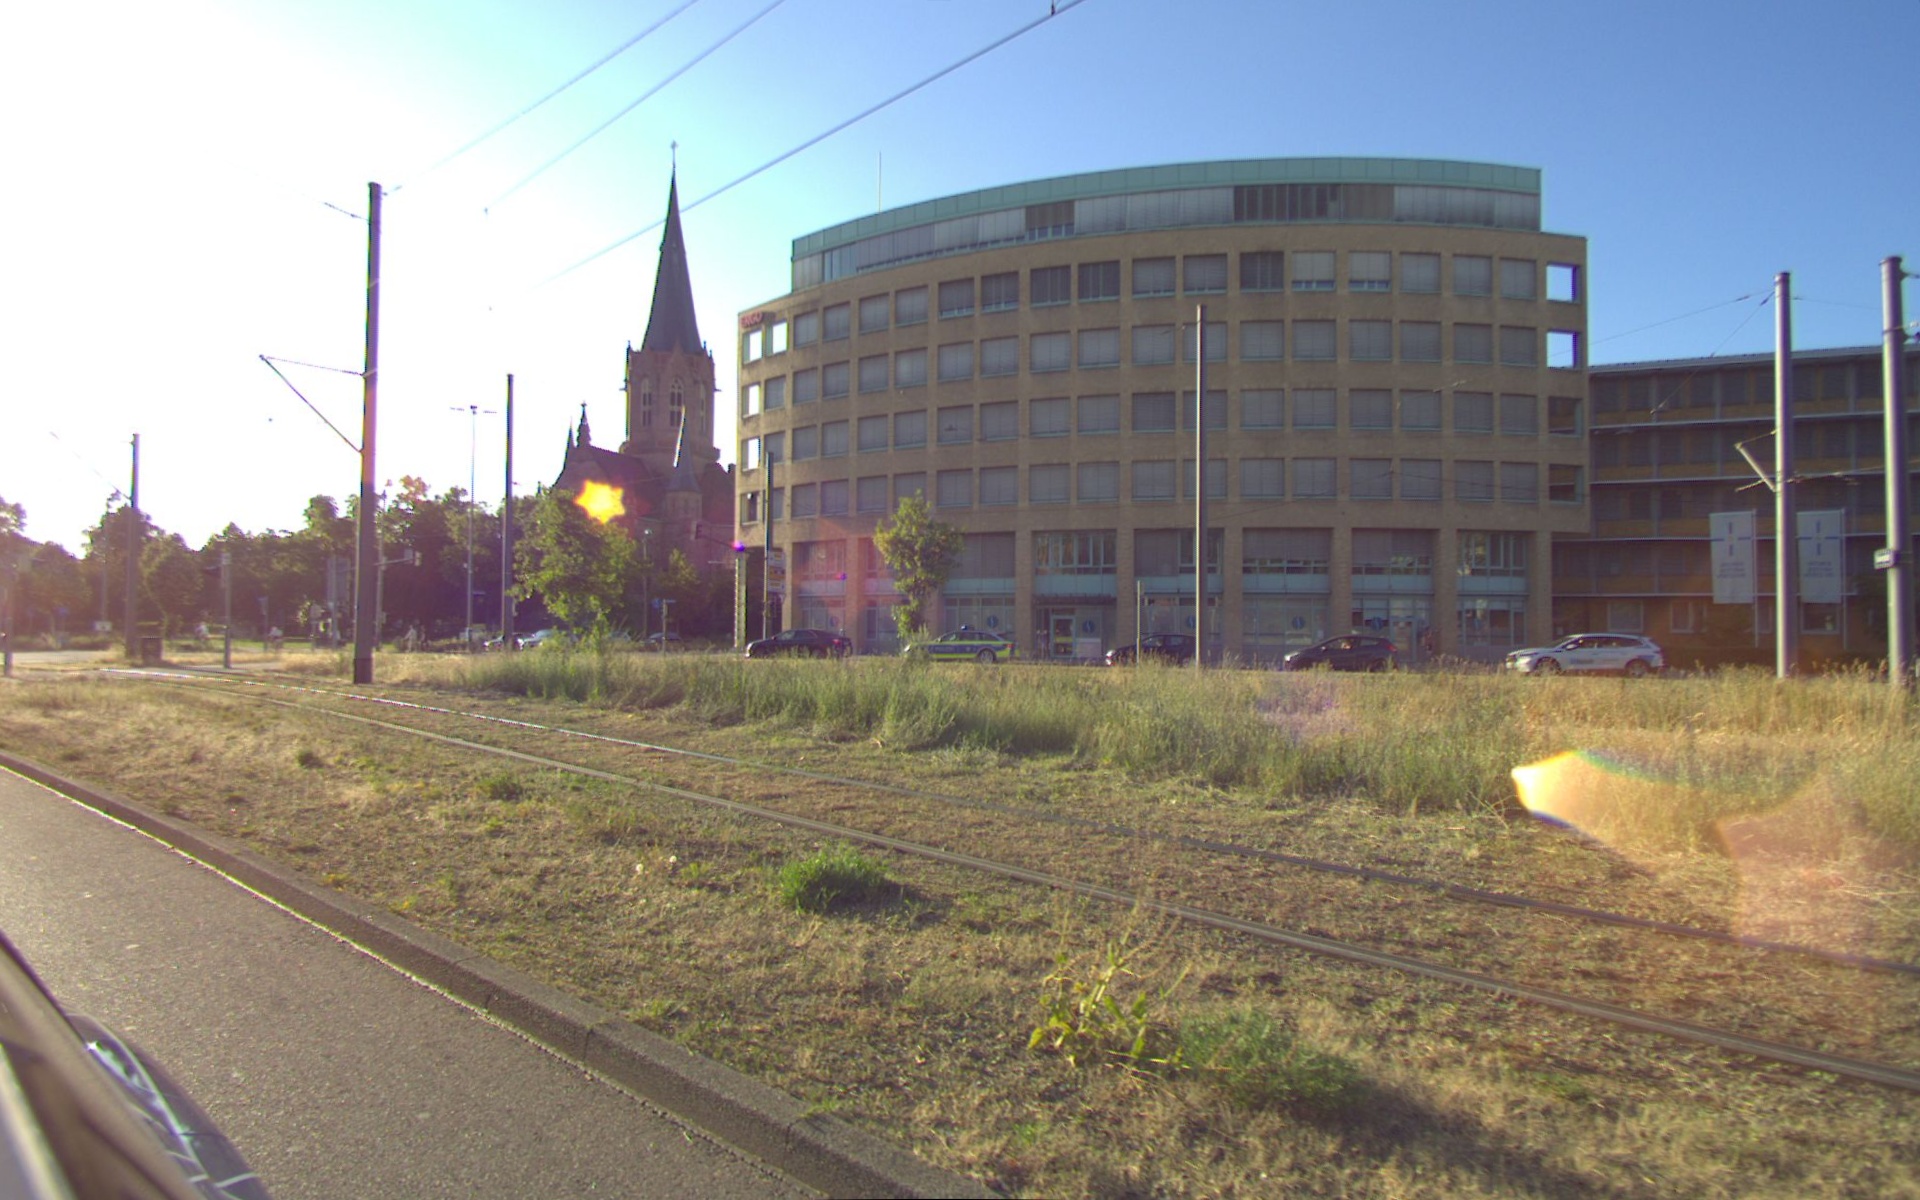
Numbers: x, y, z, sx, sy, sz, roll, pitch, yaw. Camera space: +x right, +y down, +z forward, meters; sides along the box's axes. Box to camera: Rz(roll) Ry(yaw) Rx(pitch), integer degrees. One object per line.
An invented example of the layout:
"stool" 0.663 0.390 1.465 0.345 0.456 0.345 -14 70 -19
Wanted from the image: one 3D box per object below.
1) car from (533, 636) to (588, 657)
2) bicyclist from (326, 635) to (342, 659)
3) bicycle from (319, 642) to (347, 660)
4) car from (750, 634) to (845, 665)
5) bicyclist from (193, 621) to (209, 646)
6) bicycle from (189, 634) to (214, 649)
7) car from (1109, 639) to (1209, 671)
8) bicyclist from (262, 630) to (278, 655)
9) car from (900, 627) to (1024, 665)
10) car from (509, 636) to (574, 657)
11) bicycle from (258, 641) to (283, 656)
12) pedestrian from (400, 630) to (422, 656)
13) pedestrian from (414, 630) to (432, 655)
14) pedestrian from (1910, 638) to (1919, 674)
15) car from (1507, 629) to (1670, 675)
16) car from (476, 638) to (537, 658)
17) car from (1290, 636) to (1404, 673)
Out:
"car" -31.352 3.645 79.515 1.811 1.597 3.974 -1 -2 20
"bicyclist" -41.761 3.130 67.520 0.814 1.595 0.518 -1 -1 20
"bicycle" -41.851 3.399 67.543 1.904 1.155 0.457 -1 -1 20
"car" -7.079 2.133 44.136 3.761 1.292 1.718 -1 -2 21
"bicyclist" -56.105 2.500 74.821 0.888 1.841 0.571 -1 -1 20
"bicycle" -56.104 3.074 74.827 1.916 1.034 0.522 -1 0 20
"car" 7.589 2.082 38.605 3.570 1.162 1.515 -1 -2 19
"bicyclist" -48.537 2.982 71.196 0.888 1.693 0.571 -1 -1 20
"car" 0.086 1.862 41.283 4.745 1.492 1.882 -1 -2 20
"car" -28.780 3.196 69.747 1.891 1.431 3.968 -1 -2 23
"bicycle" -48.461 3.413 71.130 1.916 1.034 0.456 -1 -1 21
"pedestrian" -36.163 2.826 66.633 1.098 1.685 0.732 -1 -2 23
"pedestrian" -35.733 2.833 67.349 0.713 1.685 0.732 -1 -2 23
"pedestrian" 38.543 2.247 40.573 0.481 1.441 0.412 -1 -2 20
"car" 21.109 1.738 34.182 4.266 1.494 1.769 -1 -2 13
"car" -33.401 3.540 74.628 1.888 1.431 3.973 -1 -2 20
"car" 13.858 1.935 36.422 3.710 1.291 1.641 -1 -2 19
